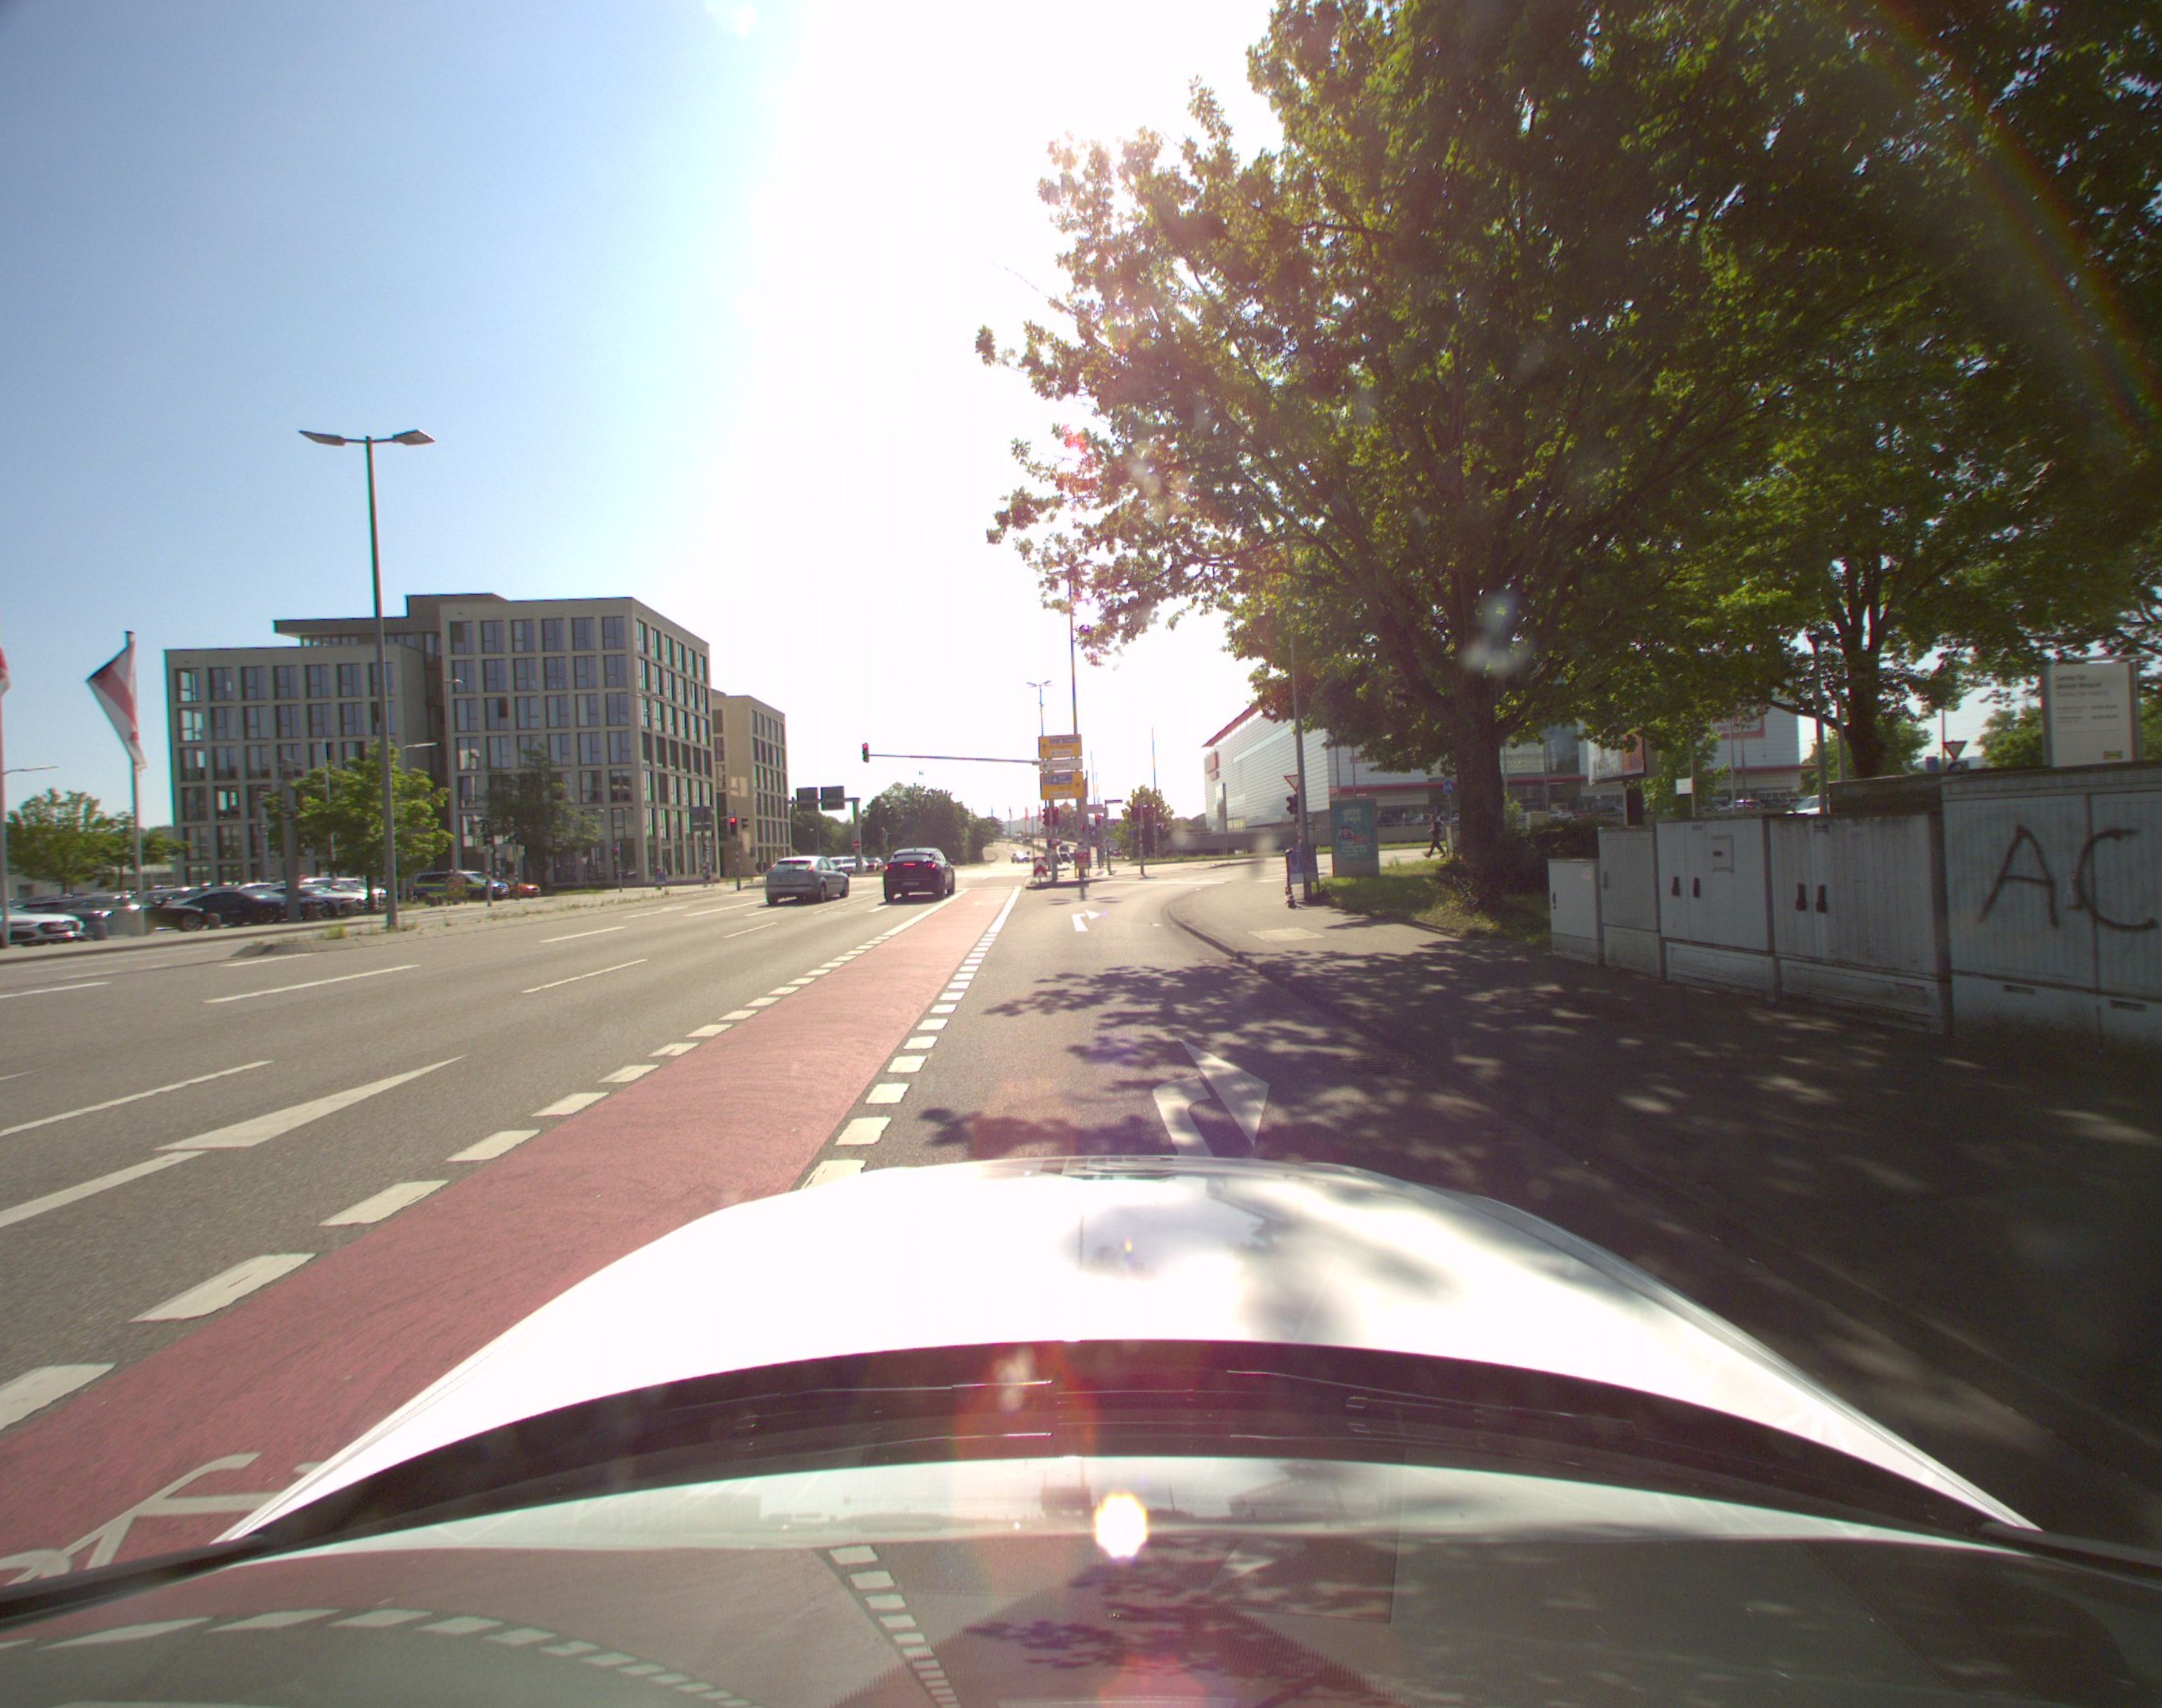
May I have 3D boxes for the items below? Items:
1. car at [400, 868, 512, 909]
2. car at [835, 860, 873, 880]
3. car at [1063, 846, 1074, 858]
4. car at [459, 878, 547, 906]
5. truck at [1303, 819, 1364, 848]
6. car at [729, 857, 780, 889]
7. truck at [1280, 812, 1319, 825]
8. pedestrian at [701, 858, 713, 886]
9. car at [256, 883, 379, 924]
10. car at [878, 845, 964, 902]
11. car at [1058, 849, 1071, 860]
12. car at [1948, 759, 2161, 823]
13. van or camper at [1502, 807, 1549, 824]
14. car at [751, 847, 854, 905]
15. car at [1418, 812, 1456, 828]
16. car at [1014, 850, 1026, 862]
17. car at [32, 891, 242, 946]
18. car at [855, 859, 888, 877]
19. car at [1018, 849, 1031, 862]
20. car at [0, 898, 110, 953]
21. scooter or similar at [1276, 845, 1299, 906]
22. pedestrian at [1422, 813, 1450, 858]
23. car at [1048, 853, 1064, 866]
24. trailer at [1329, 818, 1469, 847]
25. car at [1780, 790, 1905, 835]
[{"bbox_3d":[-36.949,2.005,48.234,4.900,2.050,1.999,-3,0,-1],"label":"car"},{"bbox_3d":[-18.891,1.279,67.977,1.808,1.464,4.003,-3,0,2],"label":"car"},{"bbox_3d":[-2.530,-0.436,163.803,1.987,2.321,4.000,-1,2,0],"label":"car"},{"bbox_3d":[-36.557,2.381,51.588,3.975,1.464,1.999,-3,0,-1],"label":"car"},{"bbox_3d":[22.425,-1.829,72.460,4.867,2.423,1.999,-1,1,-2],"label":"truck"},{"bbox_3d":[-15.014,0.844,37.589,1.211,1.331,2.799,-1,2,-1],"label":"car"},{"bbox_3d":[35.987,-5.905,134.340,5.890,2.013,2.000,-1,1,0],"label":"truck"},{"bbox_3d":[-27.105,1.285,59.010,0.760,2.013,0.926,-1,1,-27],"label":"pedestrian"},{"bbox_3d":[-31.102,2.002,33.240,3.401,1.343,1.645,-3,0,0],"label":"car"},{"bbox_3d":[-5.218,0.570,27.097,1.801,1.640,4.460,-3,1,1],"label":"car"},{"bbox_3d":[-2.186,0.094,109.500,1.683,1.359,4.000,-1,2,0],"label":"car"},{"bbox_3d":[28.305,-1.762,23.726,1.782,1.489,3.922,-3,0,-3],"label":"car"},{"bbox_3d":[56.807,-4.946,104.127,4.973,2.013,1.998,-1,1,-4],"label":"van or camper"},{"bbox_3d":[-9.077,0.657,26.935,1.988,1.684,3.998,-3,0,-1],"label":"car"},{"bbox_3d":[45.805,-4.350,104.790,3.979,2.013,1.998,-1,1,-4],"label":"car"},{"bbox_3d":[-9.527,0.340,128.041,1.756,1.793,3.343,-3,0,-4],"label":"car"},{"bbox_3d":[-31.272,2.092,27.229,1.698,1.343,4.441,-3,1,2],"label":"car"},{"bbox_3d":[-19.284,1.242,75.169,1.808,1.464,4.003,-3,0,2],"label":"car"},{"bbox_3d":[-9.391,0.215,136.400,1.988,2.013,3.979,-1,2,-2],"label":"car"},{"bbox_3d":[-30.704,2.090,22.977,3.978,1.343,1.998,-3,0,-3],"label":"car"},{"bbox_3d":[4.431,0.434,17.530,0.349,1.233,1.315,-3,0,11],"label":"scooter or similar"},{"bbox_3d":[14.506,-0.741,33.308,0.628,1.769,0.802,-3,0,-13],"label":"pedestrian"},{"bbox_3d":[-2.795,0.607,92.624,1.683,1.359,4.000,-1,2,0],"label":"car"},{"bbox_3d":[28.278,-1.924,72.668,11.839,2.469,1.999,-1,1,-2],"label":"trailer"},{"bbox_3d":[29.506,-1.554,31.720,1.774,1.489,3.940,-3,0,12],"label":"car"}]
